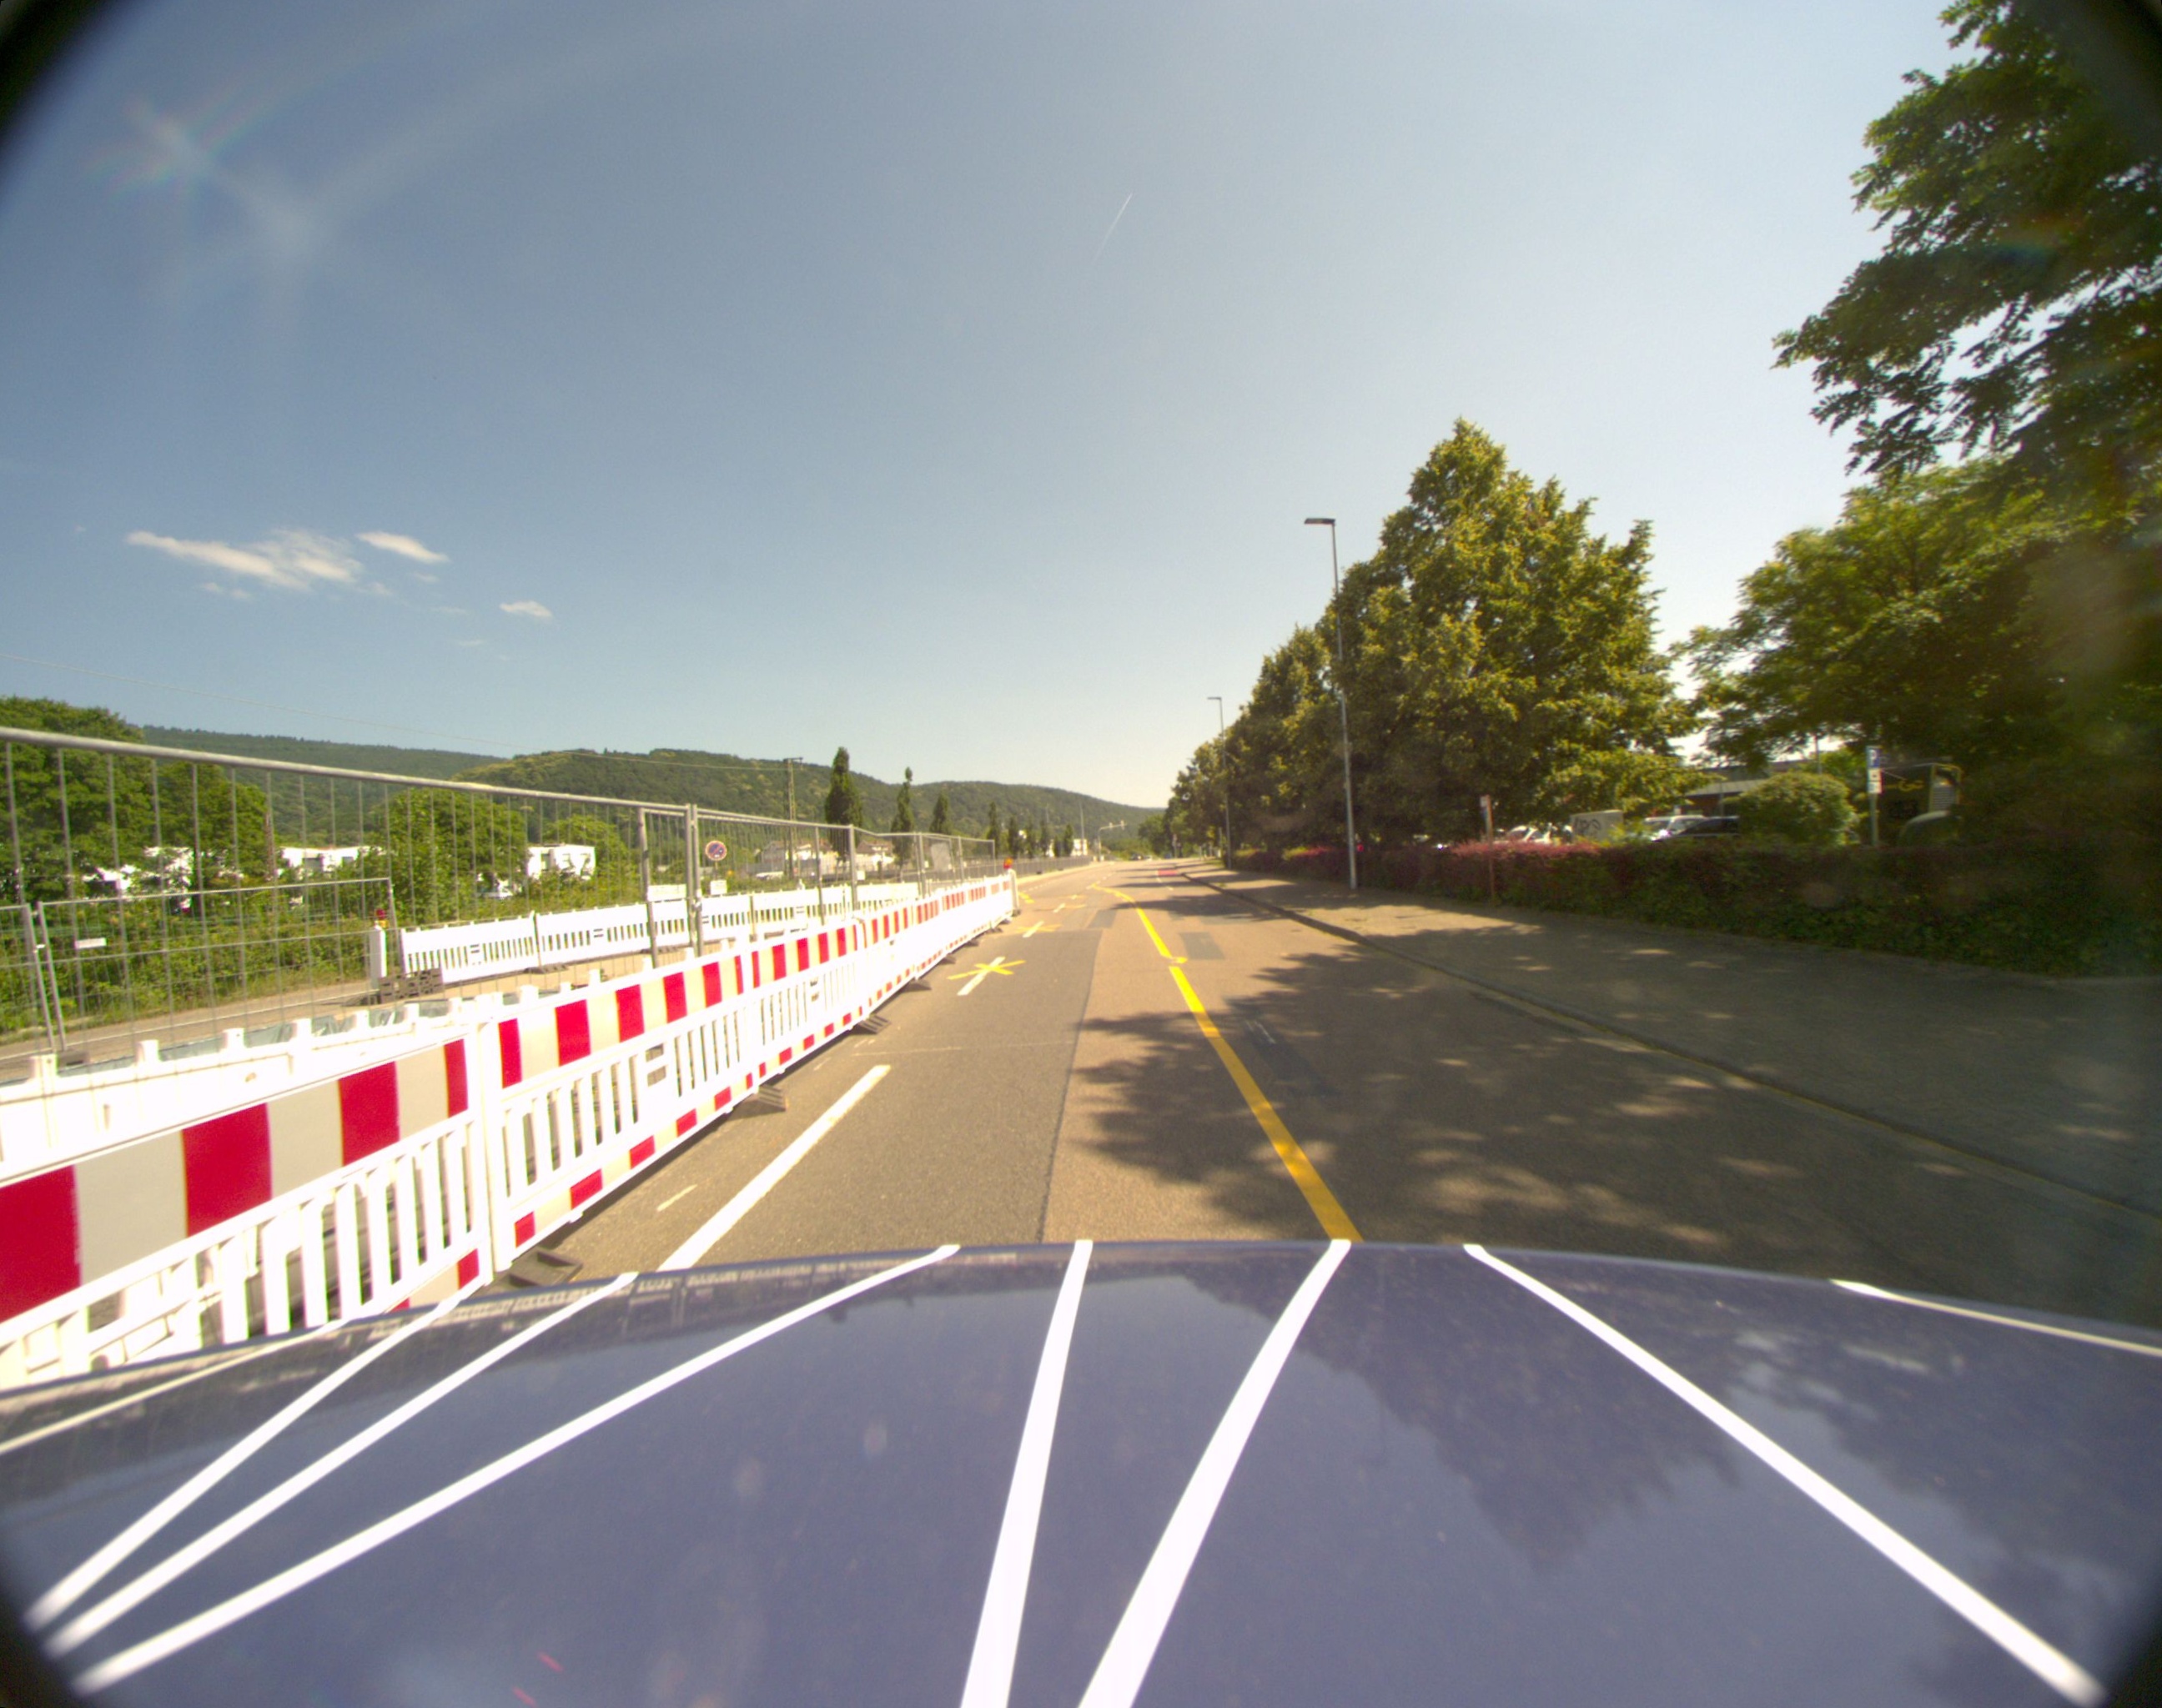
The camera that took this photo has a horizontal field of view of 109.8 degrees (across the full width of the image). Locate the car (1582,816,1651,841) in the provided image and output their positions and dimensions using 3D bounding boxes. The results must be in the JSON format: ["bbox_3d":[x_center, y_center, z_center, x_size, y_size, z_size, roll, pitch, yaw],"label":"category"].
[{"bbox_3d":[38.982,-1.853,55.367,3.989,1.584,1.931,-3,1,38],"label":"car"}]

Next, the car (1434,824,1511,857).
[{"bbox_3d":[24.600,-0.805,47.920,1.761,1.788,4.222,-4,0,-18],"label":"car"}]

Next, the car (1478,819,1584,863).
[{"bbox_3d":[21.578,-0.620,36.483,4.355,1.816,1.747,-4,0,-15],"label":"car"}]

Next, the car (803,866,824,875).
[{"bbox_3d":[-58.146,3.569,165.104,4.359,1.483,1.834,-3,3,33],"label":"car"}]

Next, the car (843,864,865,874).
[{"bbox_3d":[-47.344,3.139,158.221,4.359,1.618,1.834,-3,4,32],"label":"car"}]

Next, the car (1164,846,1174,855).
[{"bbox_3d":[16.684,-0.674,143.645,1.609,1.527,3.683,-3,0,4],"label":"car"}]

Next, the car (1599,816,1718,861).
[{"bbox_3d":[24.189,-0.642,31.881,3.812,1.574,1.903,-4,0,-13],"label":"car"}]

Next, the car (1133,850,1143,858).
[{"bbox_3d":[10.213,-0.022,136.929,1.609,1.248,3.683,-3,0,4],"label":"car"}]

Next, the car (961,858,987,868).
[{"bbox_3d":[-19.910,1.670,141.323,4.359,1.618,1.834,-3,4,32],"label":"car"}]

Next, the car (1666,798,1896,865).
[{"bbox_3d":[19.468,-0.588,21.557,2.072,1.551,5.031,-3,1,4],"label":"car"}]
